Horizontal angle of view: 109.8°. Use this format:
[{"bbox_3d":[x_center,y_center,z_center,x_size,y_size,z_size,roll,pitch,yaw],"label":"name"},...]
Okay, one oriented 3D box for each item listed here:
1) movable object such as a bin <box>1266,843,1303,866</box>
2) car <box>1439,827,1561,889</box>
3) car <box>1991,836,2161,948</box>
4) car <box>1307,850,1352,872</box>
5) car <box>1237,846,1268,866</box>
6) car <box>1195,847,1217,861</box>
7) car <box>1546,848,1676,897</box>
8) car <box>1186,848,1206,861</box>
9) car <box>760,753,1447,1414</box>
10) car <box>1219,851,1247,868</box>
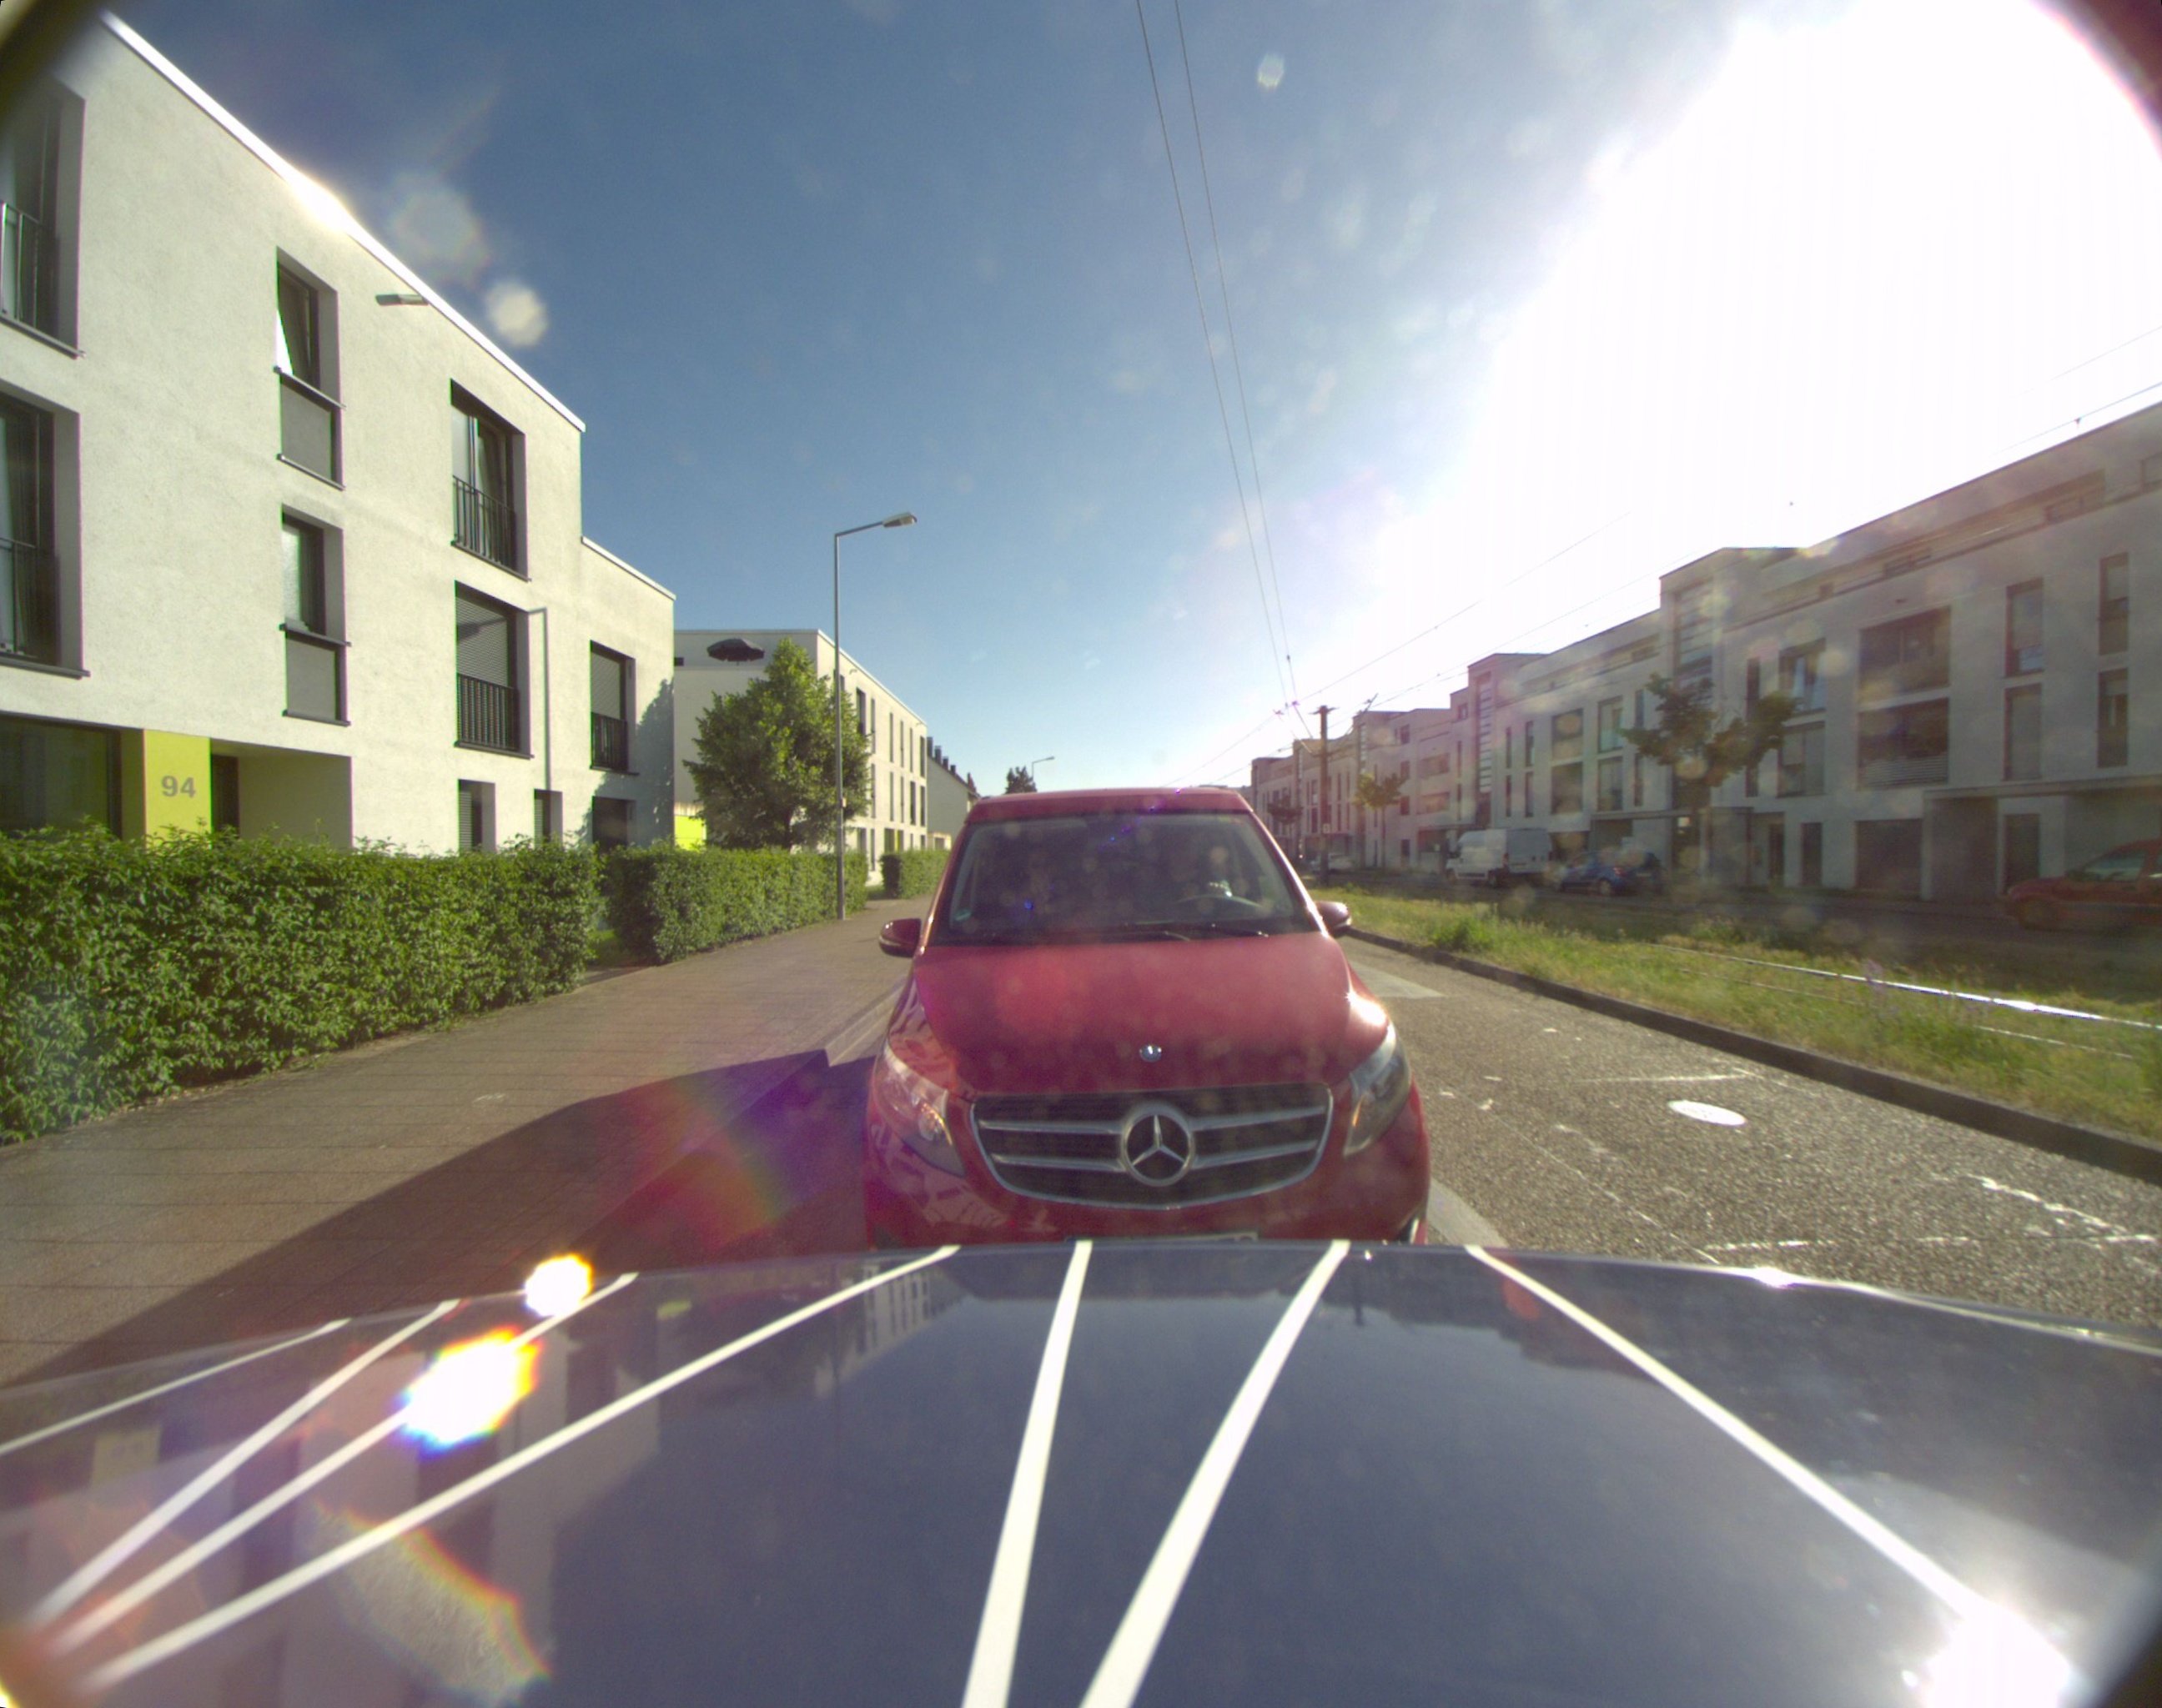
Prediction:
[{"bbox_3d":[17.732,0.019,66.365,1.766,1.926,4.155,-2,0,-4],"label":"movable object such as a bin"},{"bbox_3d":[18.156,0.165,33.335,2.146,2.430,5.588,-2,0,-1],"label":"car"},{"bbox_3d":[18.582,0.606,12.818,1.885,1.785,3.837,-2,0,1],"label":"car"},{"bbox_3d":[17.522,0.472,53.780,1.521,1.424,4.155,-2,0,-4],"label":"car"},{"bbox_3d":[16.738,0.180,74.266,1.766,1.859,4.155,-2,0,-4],"label":"car"},{"bbox_3d":[15.416,0.014,93.854,1.766,1.590,4.155,-2,0,-4],"label":"car"},{"bbox_3d":[18.294,0.583,26.473,1.829,1.528,3.842,-2,0,0],"label":"car"},{"bbox_3d":[15.022,0.028,99.586,1.766,1.590,4.155,-2,0,-4],"label":"car"},{"bbox_3d":[0.126,0.689,4.876,1.979,1.922,5.205,-2,0,1],"label":"car"},{"bbox_3d":[13.555,0.487,67.963,1.792,1.410,4.000,1,0,1],"label":"car"}]
